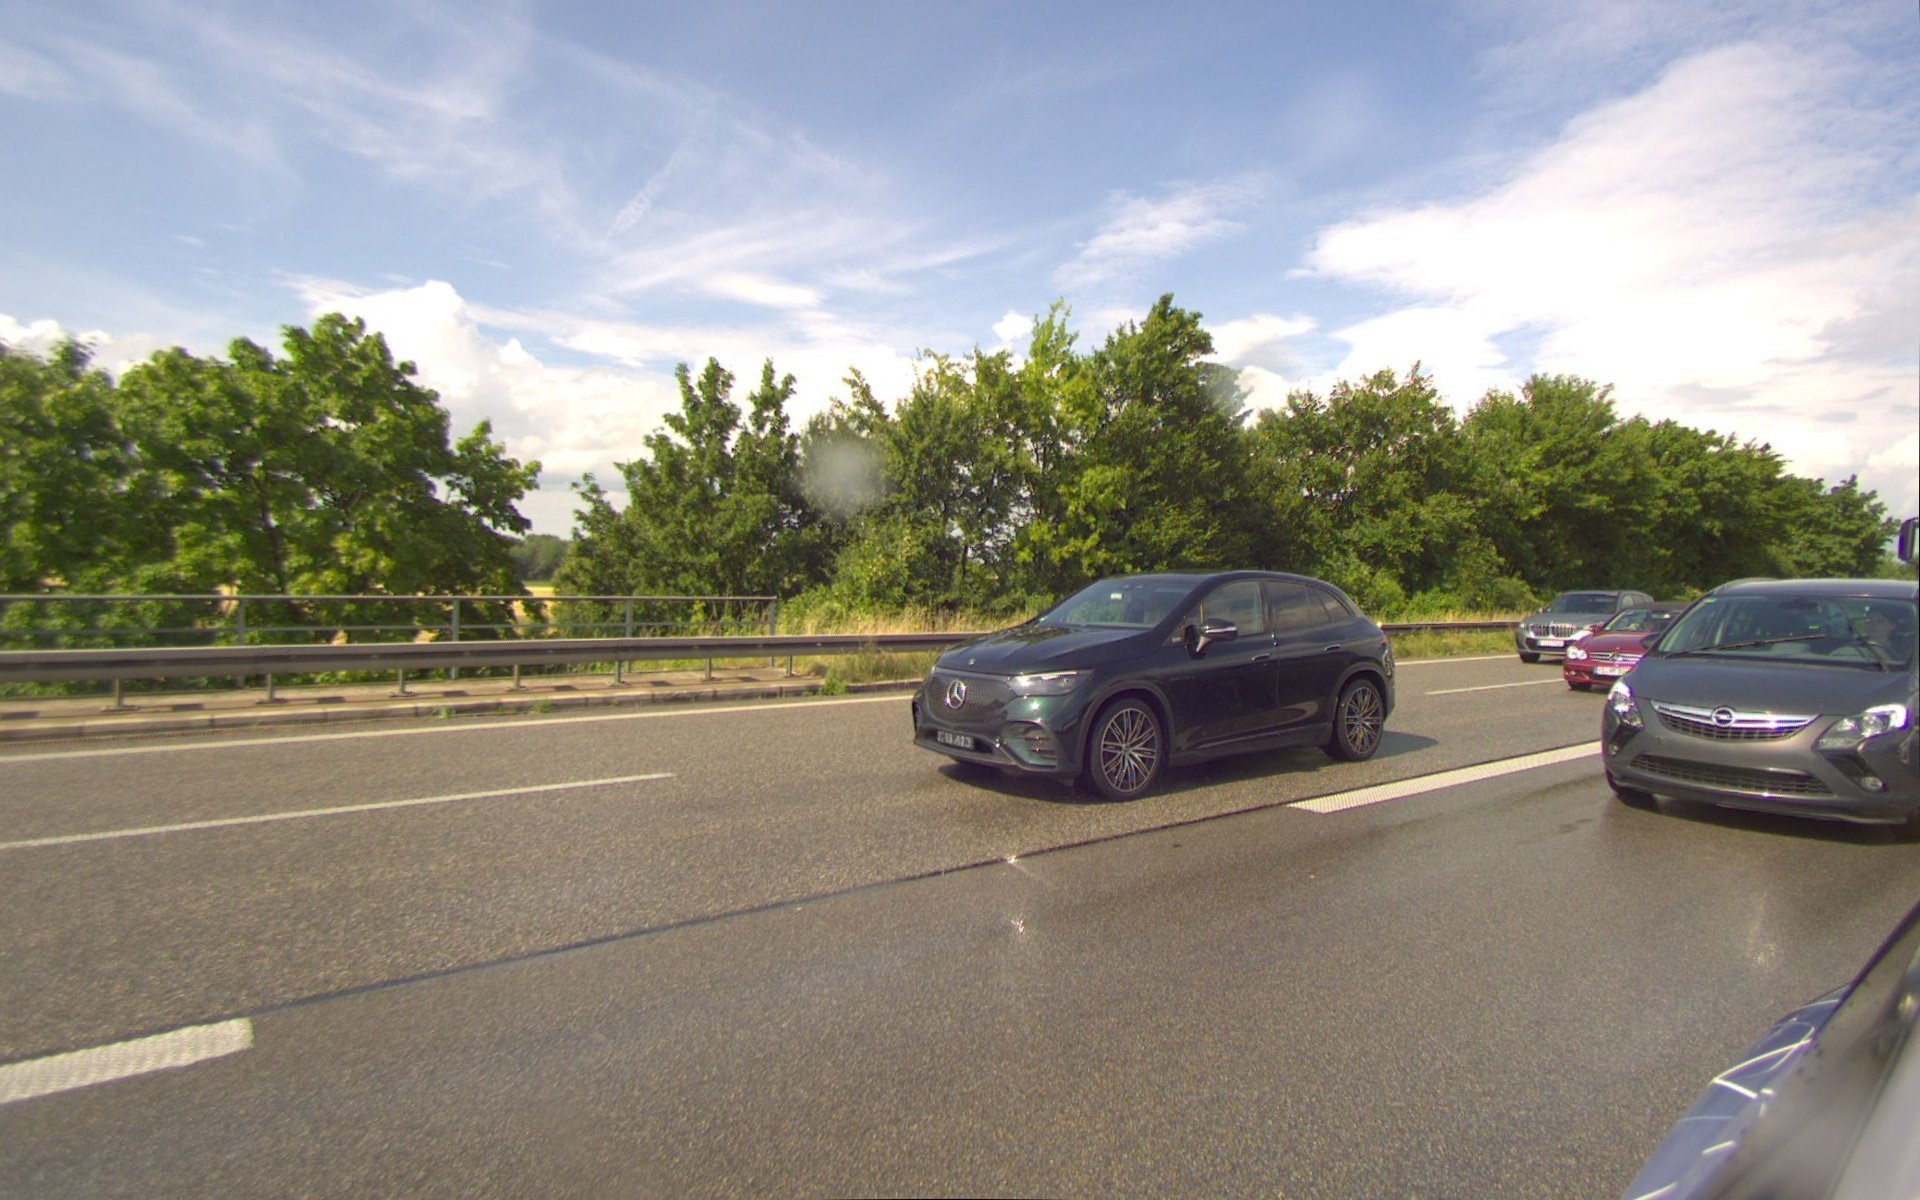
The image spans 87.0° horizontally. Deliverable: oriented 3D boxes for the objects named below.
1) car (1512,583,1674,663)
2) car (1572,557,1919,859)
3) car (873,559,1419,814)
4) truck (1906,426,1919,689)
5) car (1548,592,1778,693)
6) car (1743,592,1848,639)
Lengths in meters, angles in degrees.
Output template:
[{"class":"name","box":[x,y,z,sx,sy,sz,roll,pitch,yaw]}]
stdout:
[{"class":"car","box":[14.158,0.448,22.564,4.208,1.606,1.753,0,0,-38]},{"class":"car","box":[6.508,0.576,7.558,4.315,1.668,1.884,0,1,-38]},{"class":"car","box":[1.732,0.521,8.542,4.567,1.601,1.999,0,1,-38]},{"class":"truck","box":[18.849,-0.691,17.119,7.305,4.158,2.819,0,0,-36]},{"class":"car","box":[11.456,0.592,16.388,4.427,1.428,1.757,0,0,-37]},{"class":"car","box":[28.062,0.480,33.956,4.423,1.481,1.792,0,0,-38]}]
